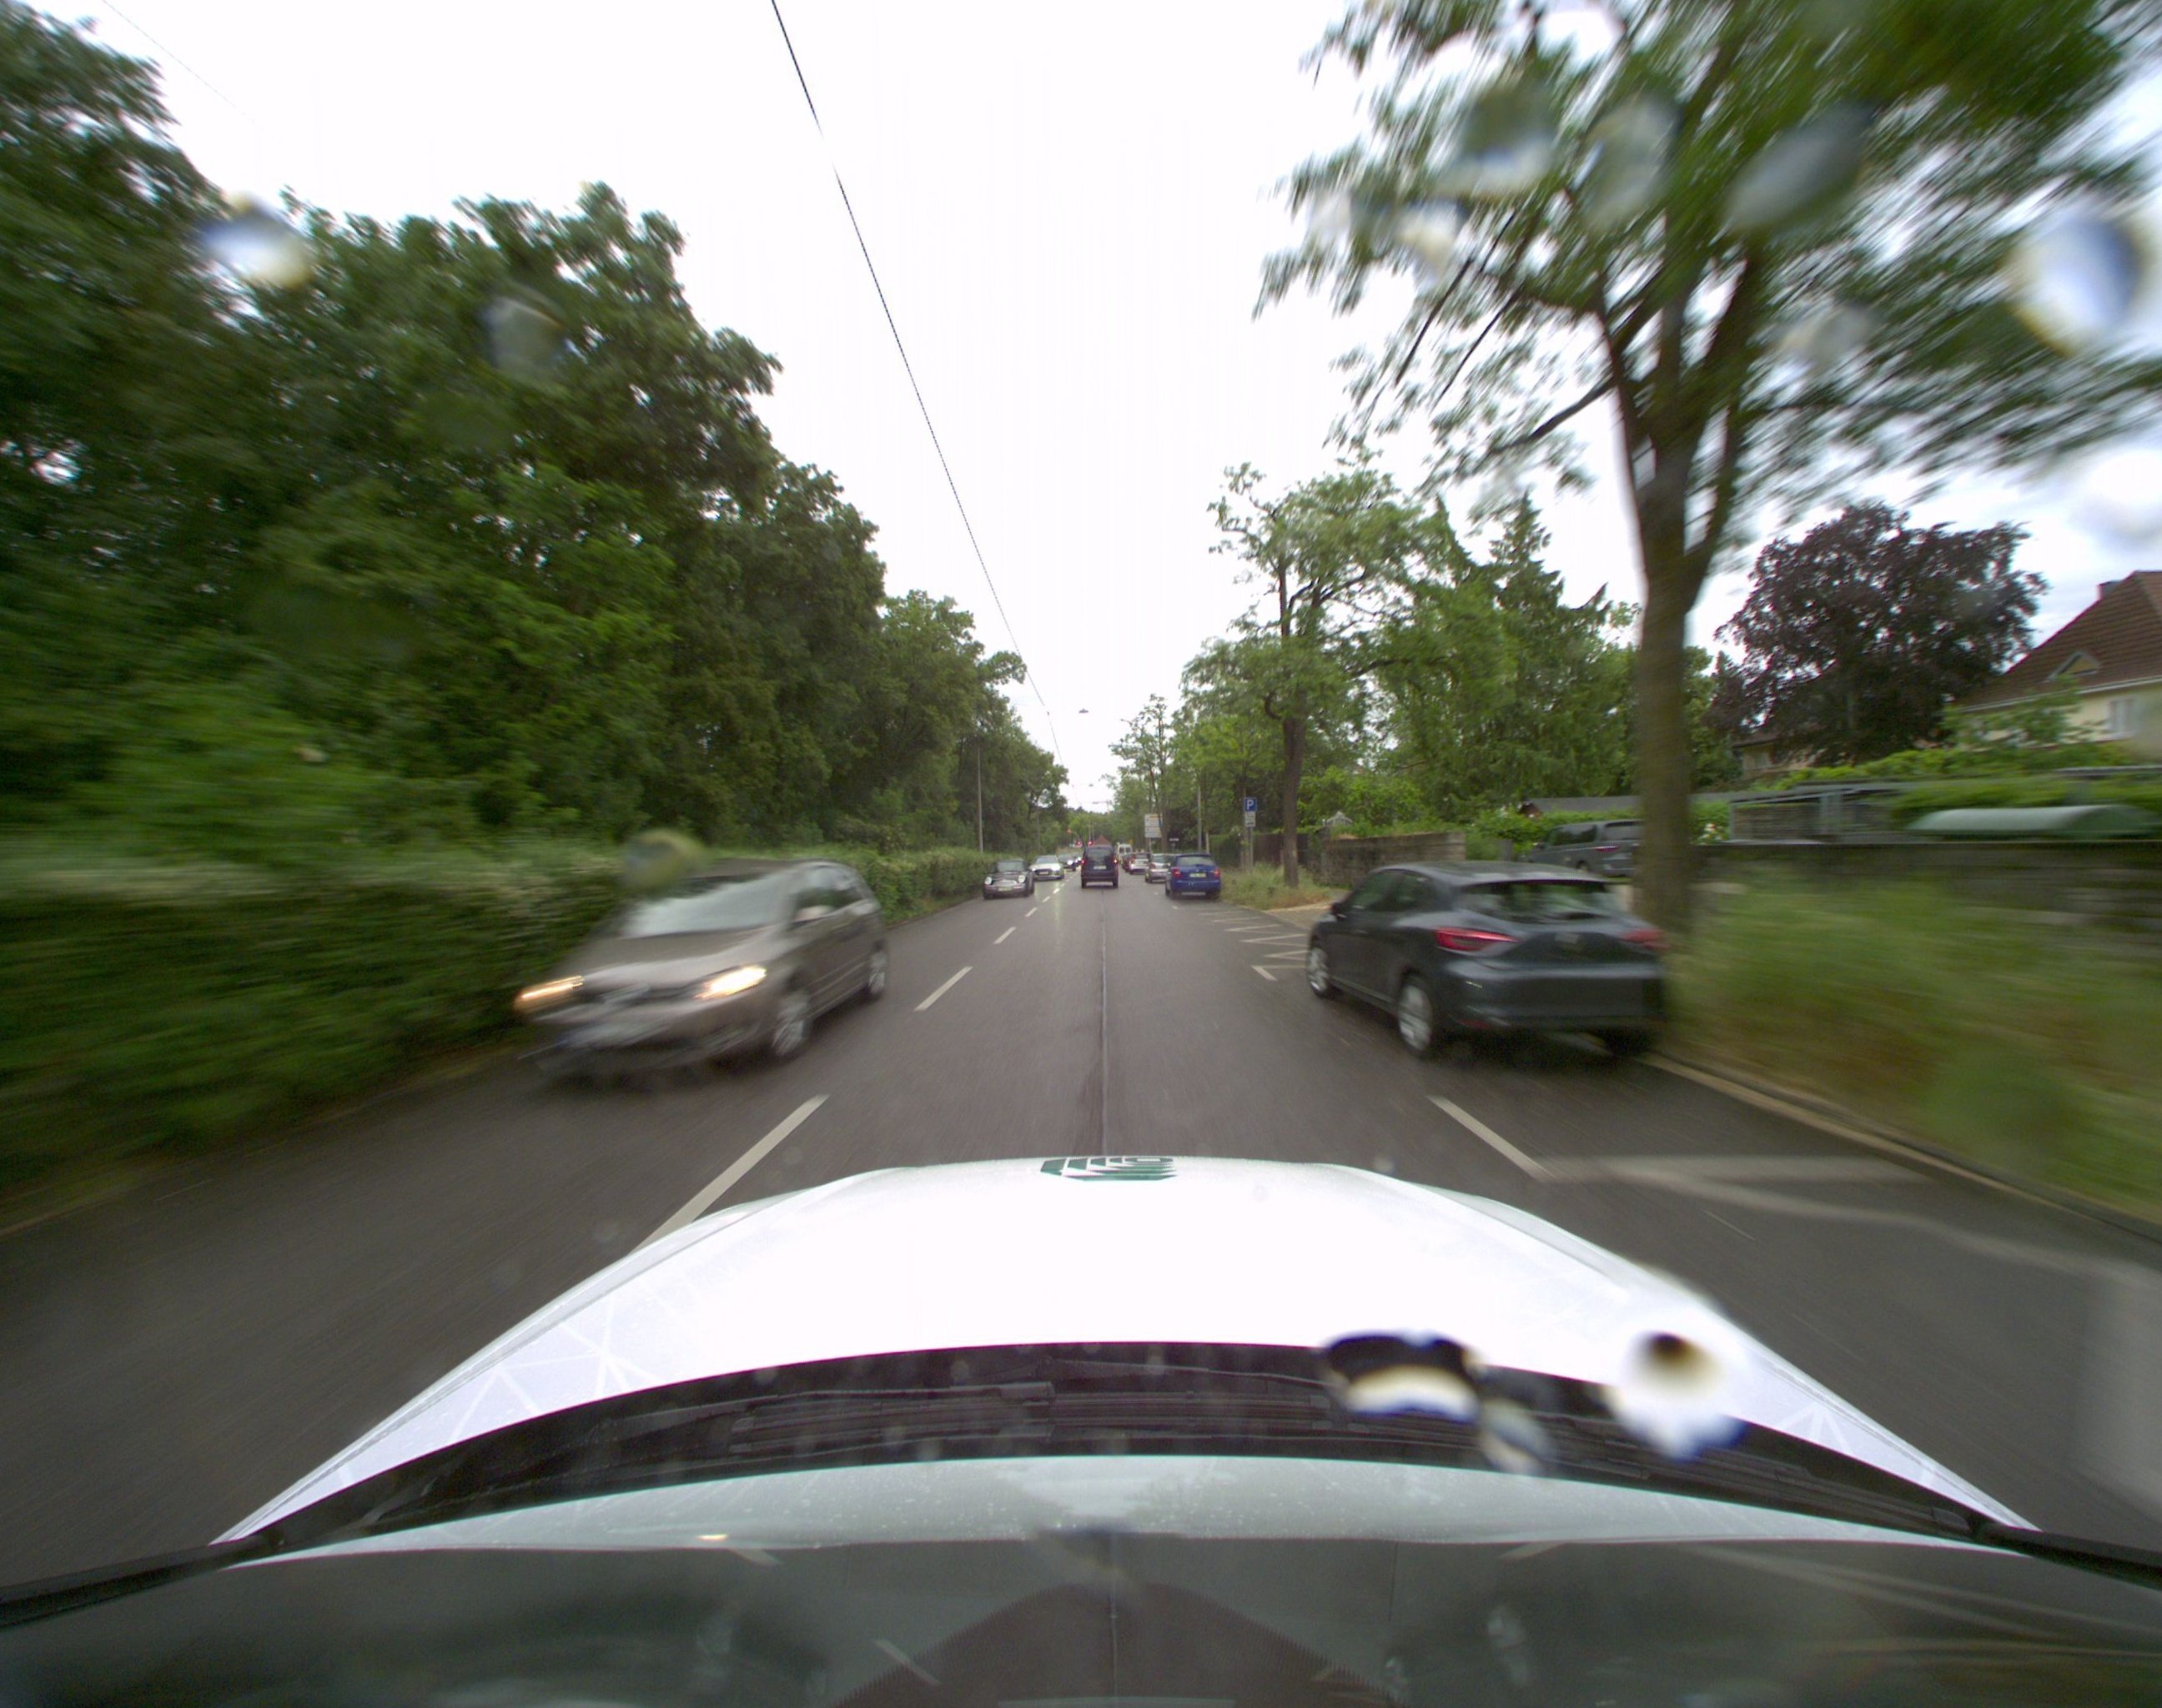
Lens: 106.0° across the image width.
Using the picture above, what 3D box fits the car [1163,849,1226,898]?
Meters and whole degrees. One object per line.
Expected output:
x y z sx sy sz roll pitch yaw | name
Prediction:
3.804 0.613 27.819 1.714 1.505 4.052 0 1 2 | car

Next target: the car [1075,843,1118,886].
0.657 0.412 36.270 1.762 1.830 3.540 0 1 -2 | car

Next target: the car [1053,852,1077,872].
-1.384 0.660 71.720 1.797 1.547 4.433 -3 1 1 | car

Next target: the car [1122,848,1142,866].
4.667 0.262 74.553 1.691 1.524 4.213 0 0 2 | car

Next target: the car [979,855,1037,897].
-2.711 0.786 30.962 1.680 1.356 3.725 -3 1 2 | car

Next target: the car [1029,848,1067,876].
-1.952 0.449 48.744 1.849 1.468 4.449 -4 1 2 | car

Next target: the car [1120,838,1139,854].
4.746 -0.788 79.769 1.692 1.524 3.868 0 0 1 | car

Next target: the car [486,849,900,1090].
-3.037 0.760 7.444 1.724 1.492 4.001 -3 1 1 | car

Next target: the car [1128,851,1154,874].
4.190 0.579 57.265 1.627 1.509 2.957 0 1 0 | car

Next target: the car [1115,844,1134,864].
5.608 -0.033 104.898 2.197 2.449 4.731 -2 0 1 | car

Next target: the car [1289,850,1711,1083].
3.263 0.728 7.333 1.736 1.479 3.962 0 1 -1 | car

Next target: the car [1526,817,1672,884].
15.548 -0.109 24.754 1.823 1.810 4.257 -1 0 2 | car

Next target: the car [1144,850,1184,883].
4.091 0.579 40.801 1.613 1.508 3.834 0 1 0 | car

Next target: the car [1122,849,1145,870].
4.104 0.429 63.274 1.690 1.524 3.872 0 1 4 | car
